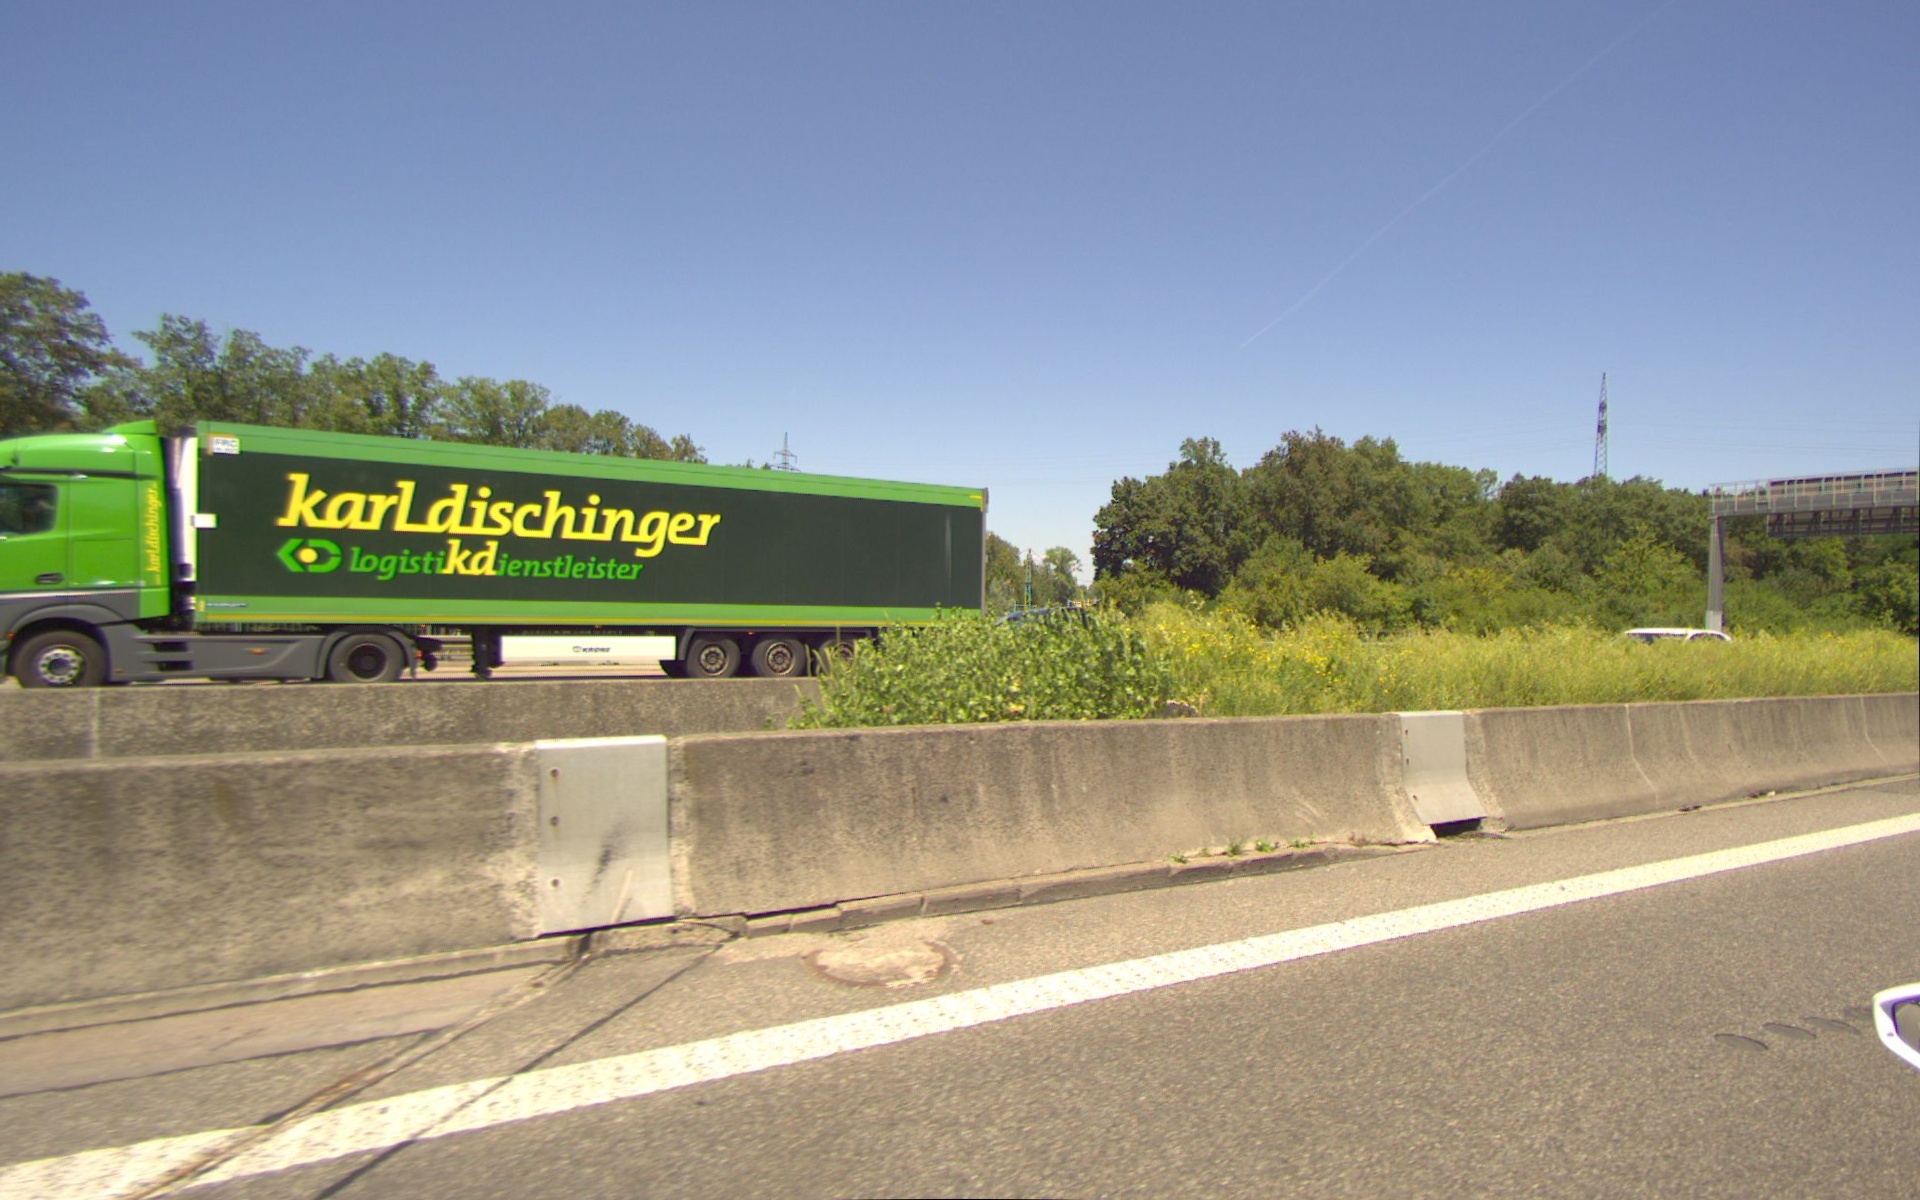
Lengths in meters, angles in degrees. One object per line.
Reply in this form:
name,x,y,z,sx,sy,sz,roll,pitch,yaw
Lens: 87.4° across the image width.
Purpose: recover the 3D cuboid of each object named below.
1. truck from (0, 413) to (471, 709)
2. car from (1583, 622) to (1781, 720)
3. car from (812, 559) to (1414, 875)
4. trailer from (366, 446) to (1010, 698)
truck,-11.420,-0.472,16.006,6.416,3.993,2.911,1,-1,-28
car,15.365,1.447,21.357,4.027,1.864,1.984,2,-1,-31
car,1.329,0.824,8.598,4.650,2.040,2.284,2,-1,-27
trailer,-4.751,-0.280,19.729,11.724,3.914,2.911,2,-1,-30
